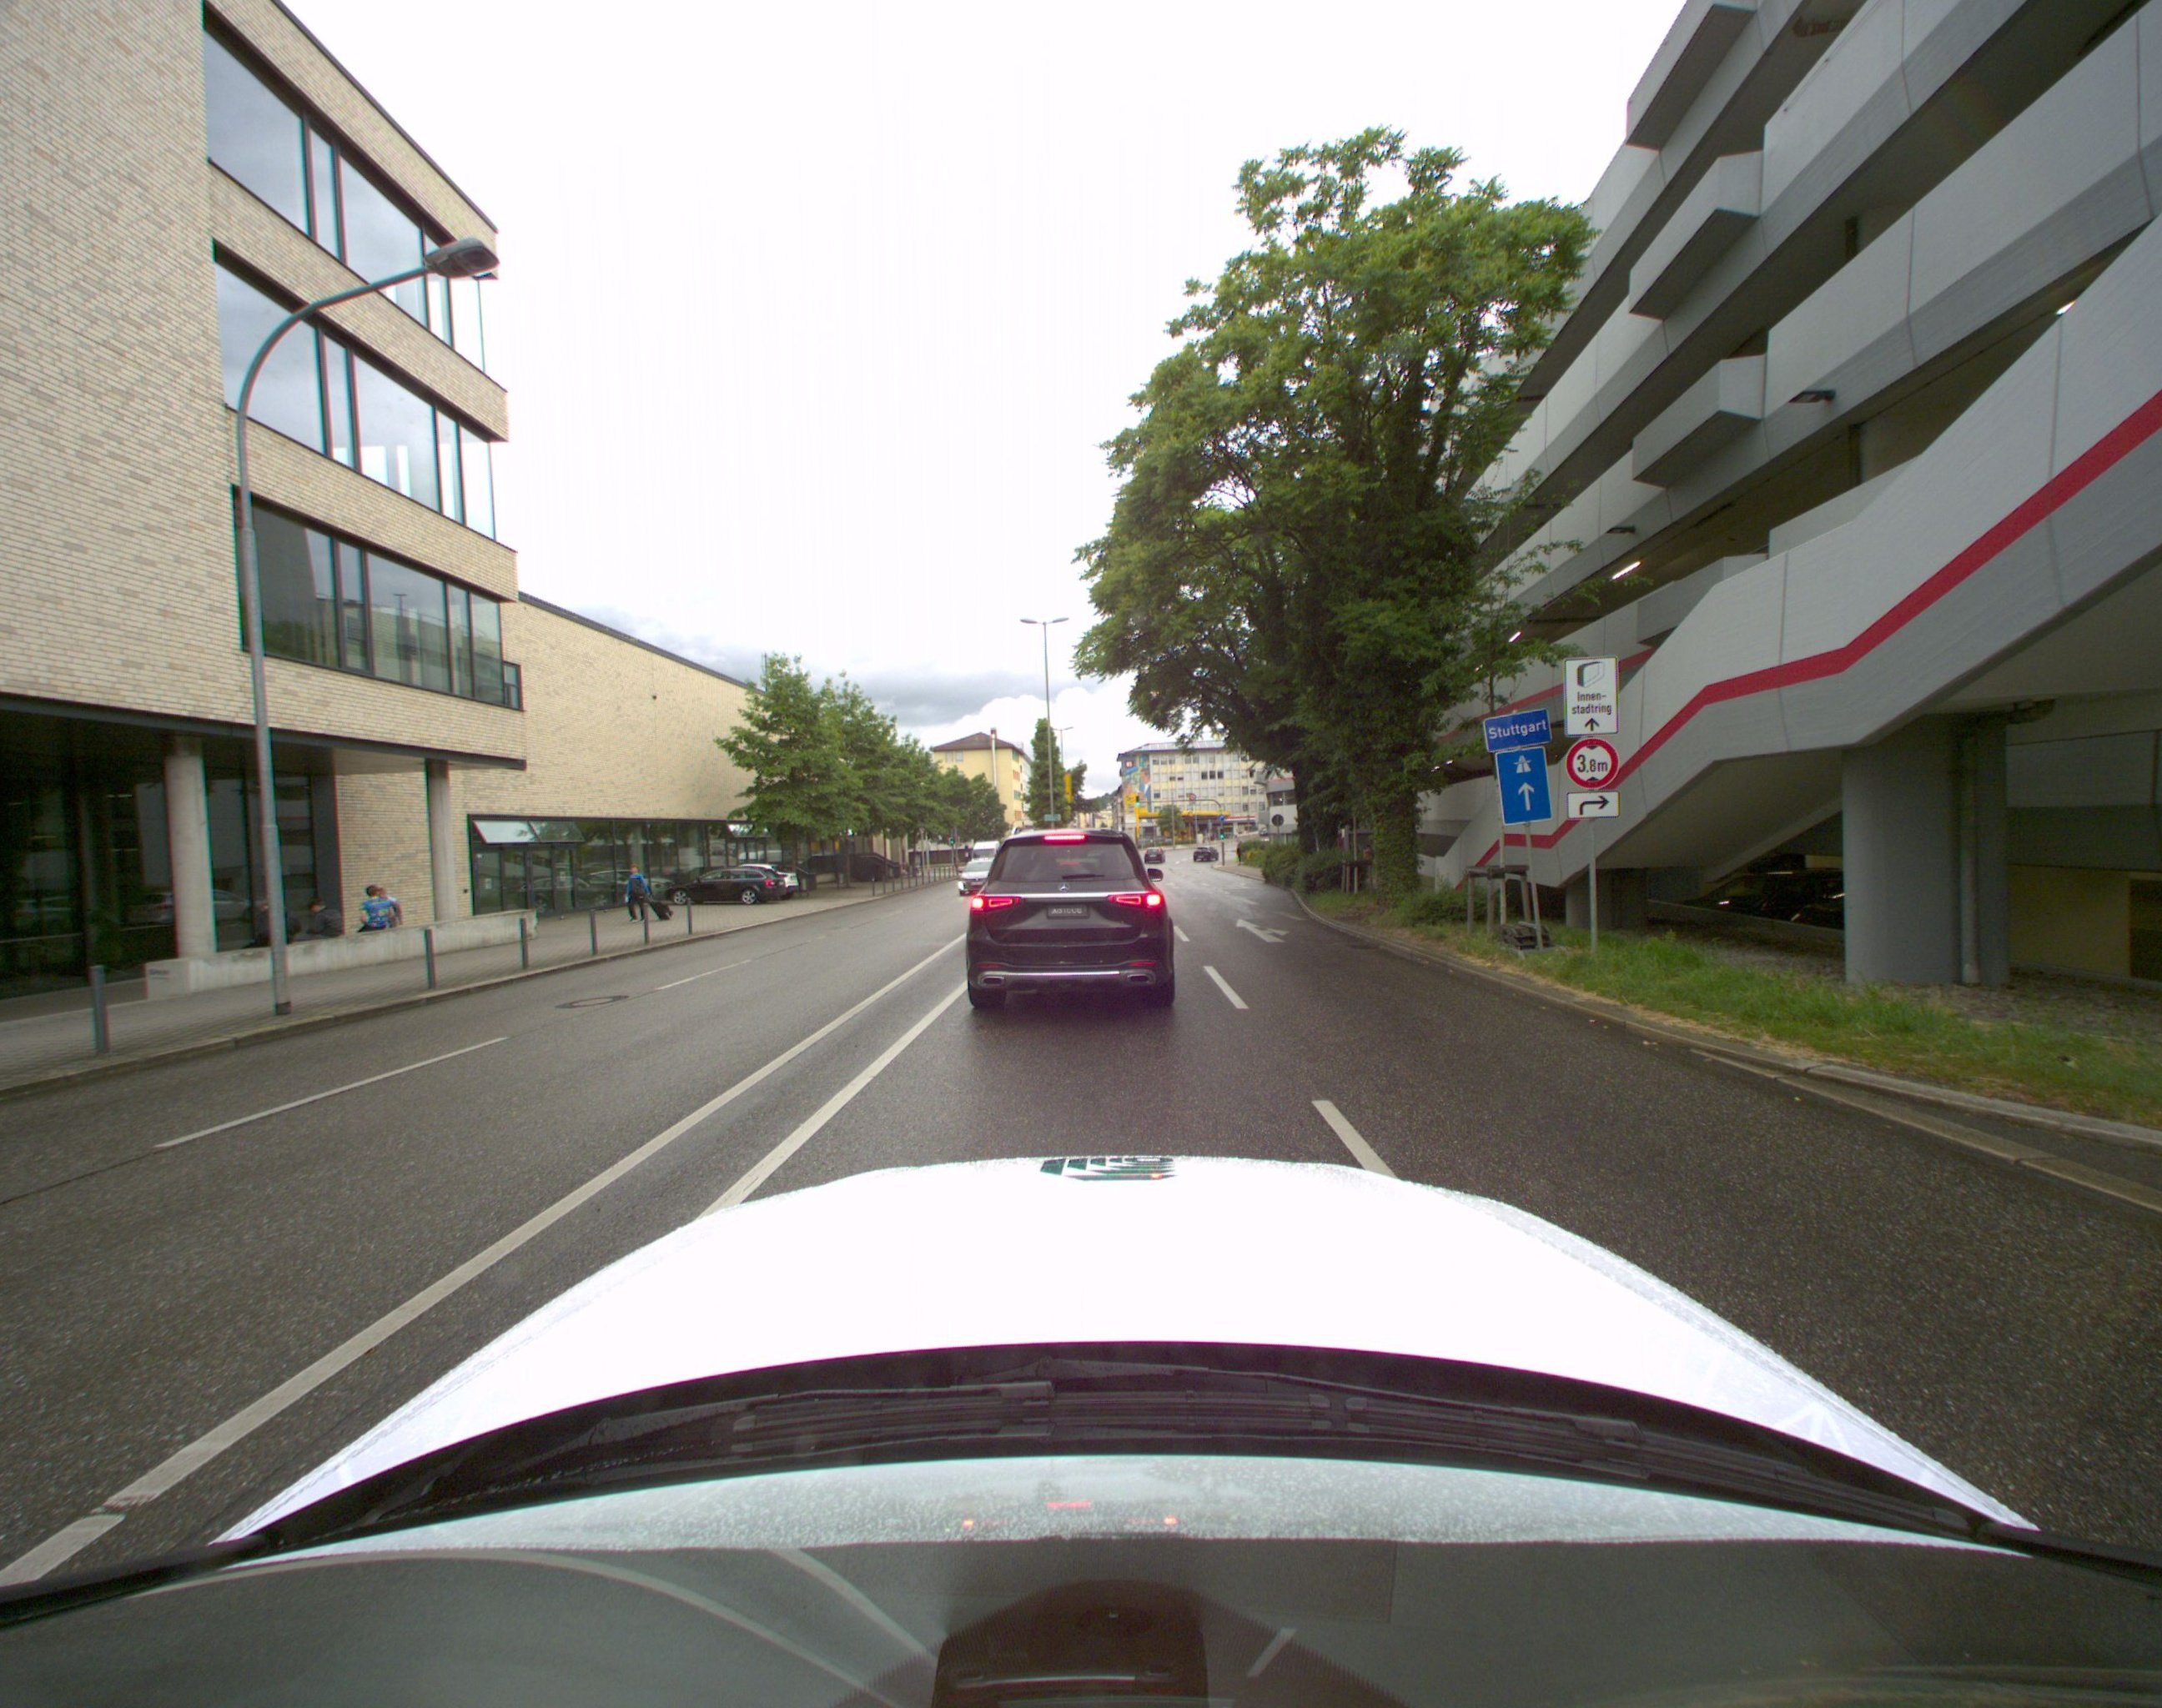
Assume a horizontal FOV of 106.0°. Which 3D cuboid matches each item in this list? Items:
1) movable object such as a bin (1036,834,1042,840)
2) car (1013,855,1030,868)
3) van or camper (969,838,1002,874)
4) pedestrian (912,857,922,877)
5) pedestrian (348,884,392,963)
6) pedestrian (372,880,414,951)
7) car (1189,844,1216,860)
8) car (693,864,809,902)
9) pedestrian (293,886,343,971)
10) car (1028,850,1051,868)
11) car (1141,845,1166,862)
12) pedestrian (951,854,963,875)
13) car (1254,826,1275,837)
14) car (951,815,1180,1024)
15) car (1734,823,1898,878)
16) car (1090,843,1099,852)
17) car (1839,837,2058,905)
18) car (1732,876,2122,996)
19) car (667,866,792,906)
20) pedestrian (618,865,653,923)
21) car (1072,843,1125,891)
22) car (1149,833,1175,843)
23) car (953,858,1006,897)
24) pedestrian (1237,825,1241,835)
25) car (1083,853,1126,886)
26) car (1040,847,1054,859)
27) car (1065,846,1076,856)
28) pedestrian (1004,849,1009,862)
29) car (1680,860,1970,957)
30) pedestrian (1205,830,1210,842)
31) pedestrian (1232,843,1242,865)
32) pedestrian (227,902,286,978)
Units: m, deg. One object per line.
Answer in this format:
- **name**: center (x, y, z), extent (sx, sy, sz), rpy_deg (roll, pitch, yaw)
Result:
- **movable object such as a bin**: center (-7.319, -2.940, 141.568), extent (0.906, 1.038, 0.844), rpy_deg (0, -1, 2)
- **car**: center (-6.860, 0.861, 94.117), extent (1.792, 1.495, 3.802), rpy_deg (0, -1, -1)
- **van or camper**: center (-7.502, 0.161, 64.582), extent (2.097, 2.582, 5.901), rpy_deg (-4, 0, -3)
- **pedestrian**: center (-13.783, 1.120, 68.532), extent (0.641, 1.665, 1.017), rpy_deg (0, -1, -4)
- **pedestrian**: center (-13.651, 1.324, 15.642), extent (0.448, 1.475, 0.463), rpy_deg (0, -1, -4)
- **pedestrian**: center (-14.624, 1.295, 17.328), extent (0.440, 1.475, 0.528), rpy_deg (0, -1, -3)
- **car**: center (11.856, -0.170, 79.058), extent (1.930, 1.486, 4.018), rpy_deg (-1, -1, 18)
- **car**: center (-14.123, 1.210, 35.010), extent (4.158, 1.547, 2.002), rpy_deg (0, -1, 3)
- **pedestrian**: center (-13.528, 1.310, 14.451), extent (0.448, 1.475, 0.463), rpy_deg (0, -1, -4)
- **car**: center (-3.743, 0.422, 74.270), extent (1.877, 1.498, 4.560), rpy_deg (-4, 0, -1)
- **car**: center (6.766, -0.081, 75.522), extent (1.784, 1.525, 4.069), rpy_deg (0, 1, 12)
- **pedestrian**: center (-10.352, 0.884, 68.064), extent (0.948, 1.704, 0.709), rpy_deg (0, -1, -16)
- **car**: center (31.153, -3.826, 137.904), extent (1.974, 1.705, 4.026), rpy_deg (-2, 1, 35)
- **car**: center (-0.074, 0.587, 9.098), extent (1.986, 1.800, 4.001), rpy_deg (0, -1, 2)
- **car**: center (26.205, -0.132, 29.196), extent (3.958, 1.783, 1.823), rpy_deg (-2, 0, 14)
- **car**: center (3.096, -1.567, 186.610), extent (1.985, 2.014, 4.003), rpy_deg (0, -1, 3)
- **car**: center (24.797, 0.490, 23.447), extent (3.958, 1.783, 1.823), rpy_deg (-2, 0, 14)
- **car**: center (12.942, 1.230, 12.712), extent (3.966, 1.624, 1.842), rpy_deg (-1, 0, 6)
- **car**: center (-14.025, 1.258, 32.702), extent (4.169, 1.495, 1.997), rpy_deg (0, -1, -5)
- **pedestrian**: center (-13.324, 1.188, 24.381), extent (0.632, 1.714, 0.705), rpy_deg (0, -1, 4)
- **car**: center (0.727, 0.513, 32.741), extent (1.986, 1.800, 4.001), rpy_deg (0, -1, 2)
- **car**: center (12.775, -2.522, 128.481), extent (1.747, 1.376, 3.952), rpy_deg (-4, 1, -42)
- **car**: center (-4.372, 0.968, 35.596), extent (1.735, 1.470, 3.882), rpy_deg (-4, 0, 0)
- **pedestrian**: center (26.461, -4.025, 136.470), extent (0.521, 1.727, 0.693), rpy_deg (-2, 1, 28)
- **car**: center (1.129, 0.711, 38.690), extent (1.900, 1.501, 4.001), rpy_deg (0, -1, 2)
- **car**: center (-5.124, -0.109, 122.531), extent (1.900, 1.703, 3.998), rpy_deg (0, -1, -1)
- **car**: center (-1.810, -0.508, 141.788), extent (1.862, 1.839, 3.819), rpy_deg (0, -1, 0)
- **pedestrian**: center (-10.452, 0.219, 114.475), extent (0.647, 1.727, 0.628), rpy_deg (-3, 1, -2)
- **car**: center (13.905, 0.995, 15.449), extent (3.713, 1.540, 1.815), rpy_deg (-1, 3, 7)
- **pedestrian**: center (18.607, -2.633, 119.902), extent (0.570, 1.697, 0.631), rpy_deg (0, -1, 3)
- **pedestrian**: center (12.509, -0.010, 65.223), extent (0.639, 1.710, 0.474), rpy_deg (-2, -1, 38)
- **pedestrian**: center (-13.585, 1.412, 13.421), extent (0.546, 1.215, 0.422), rpy_deg (0, -1, 4)
